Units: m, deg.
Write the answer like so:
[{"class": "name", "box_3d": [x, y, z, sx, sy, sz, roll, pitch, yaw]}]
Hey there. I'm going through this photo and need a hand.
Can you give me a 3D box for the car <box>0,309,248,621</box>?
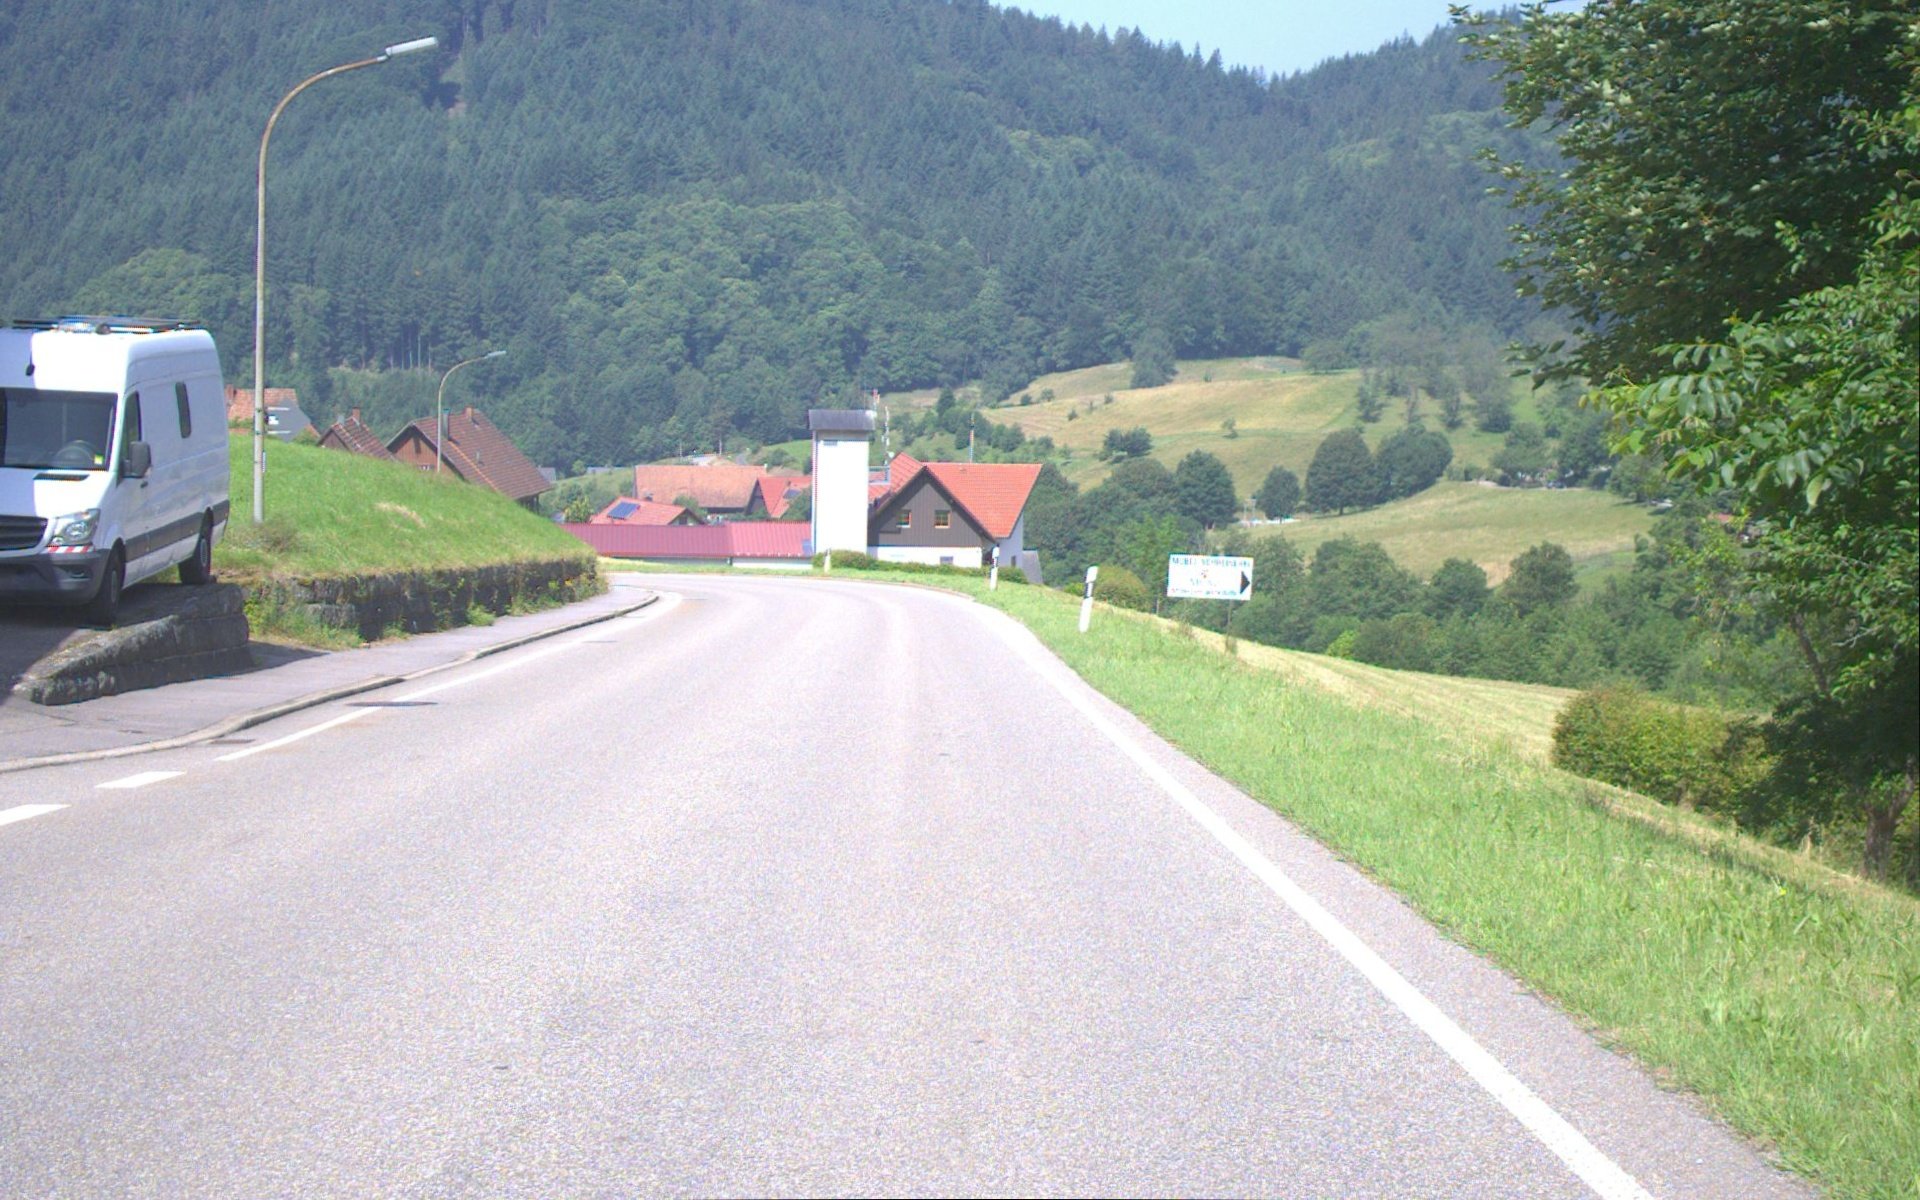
[{"class": "car", "box_3d": [-8.580, -1.455, 33.275, 2.067, 2.679, 7.176, 1, 4, -2]}]
